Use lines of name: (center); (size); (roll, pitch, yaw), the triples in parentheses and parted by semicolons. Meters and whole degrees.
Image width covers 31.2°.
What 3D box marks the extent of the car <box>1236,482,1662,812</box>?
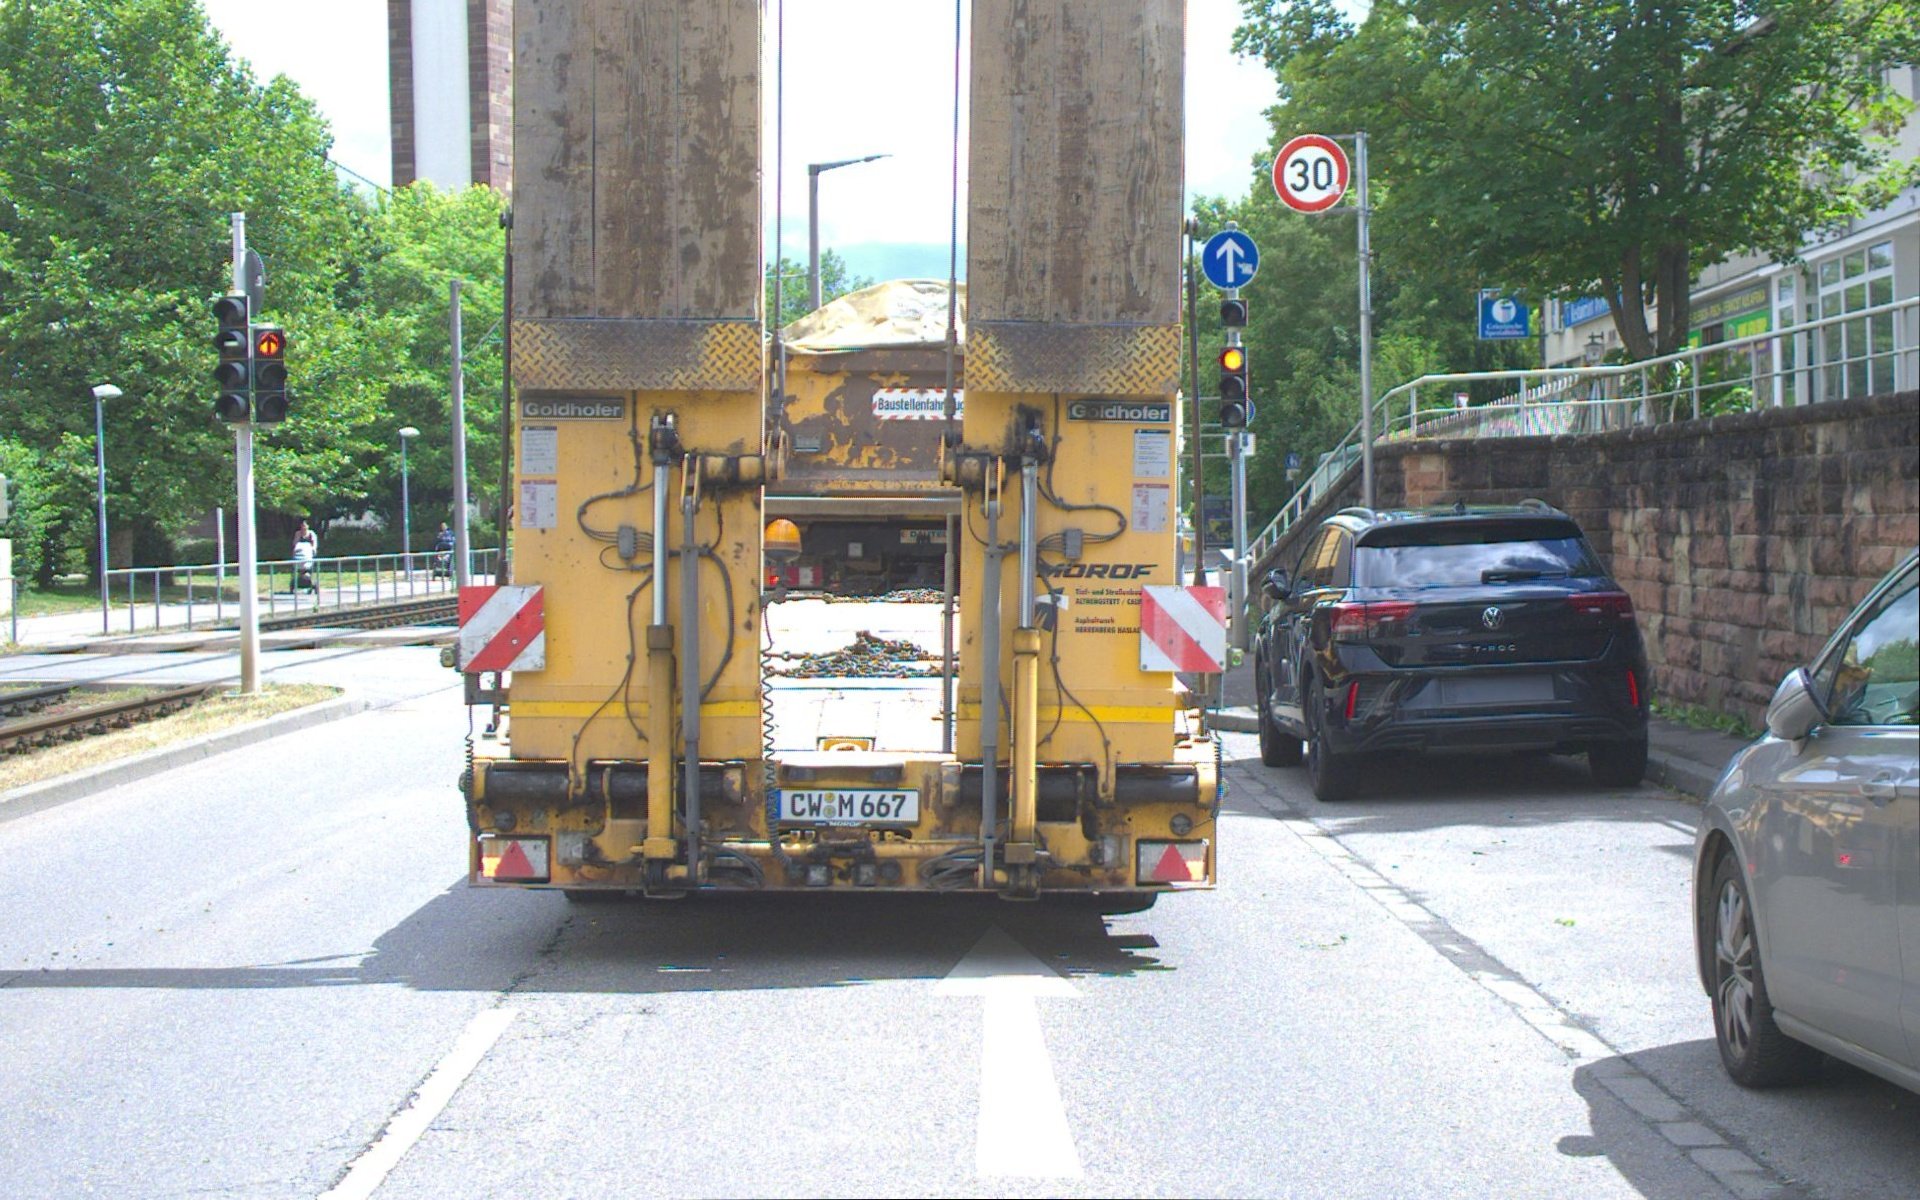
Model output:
car: (2.672, 0.199, 19.672); (1.851, 1.633, 4.000); (-2, 1, 1)

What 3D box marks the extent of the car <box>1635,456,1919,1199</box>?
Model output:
car: (2.880, 0.467, 7.649); (1.790, 1.612, 4.249); (-2, 1, -1)

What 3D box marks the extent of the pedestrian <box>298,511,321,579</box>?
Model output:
pedestrian: (-14.689, -1.247, 77.659); (0.348, 1.531, 0.557); (-1, 1, 3)

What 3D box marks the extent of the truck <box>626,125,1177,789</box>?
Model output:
truck: (-0.316, -0.834, 21.063); (2.942, 3.560, 4.877); (-1, 1, 0)

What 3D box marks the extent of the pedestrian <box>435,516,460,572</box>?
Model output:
pedestrian: (-14.021, -1.538, 94.067); (0.563, 1.508, 0.646); (1, 1, -1)

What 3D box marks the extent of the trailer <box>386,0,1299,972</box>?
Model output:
trailer: (-0.342, -0.703, 15.565); (2.945, 3.589, 8.684); (-1, 1, 1)

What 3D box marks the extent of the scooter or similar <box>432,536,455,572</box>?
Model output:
scooter or similar: (-14.039, -1.258, 93.421); (0.505, 0.968, 0.646); (1, 1, -1)
